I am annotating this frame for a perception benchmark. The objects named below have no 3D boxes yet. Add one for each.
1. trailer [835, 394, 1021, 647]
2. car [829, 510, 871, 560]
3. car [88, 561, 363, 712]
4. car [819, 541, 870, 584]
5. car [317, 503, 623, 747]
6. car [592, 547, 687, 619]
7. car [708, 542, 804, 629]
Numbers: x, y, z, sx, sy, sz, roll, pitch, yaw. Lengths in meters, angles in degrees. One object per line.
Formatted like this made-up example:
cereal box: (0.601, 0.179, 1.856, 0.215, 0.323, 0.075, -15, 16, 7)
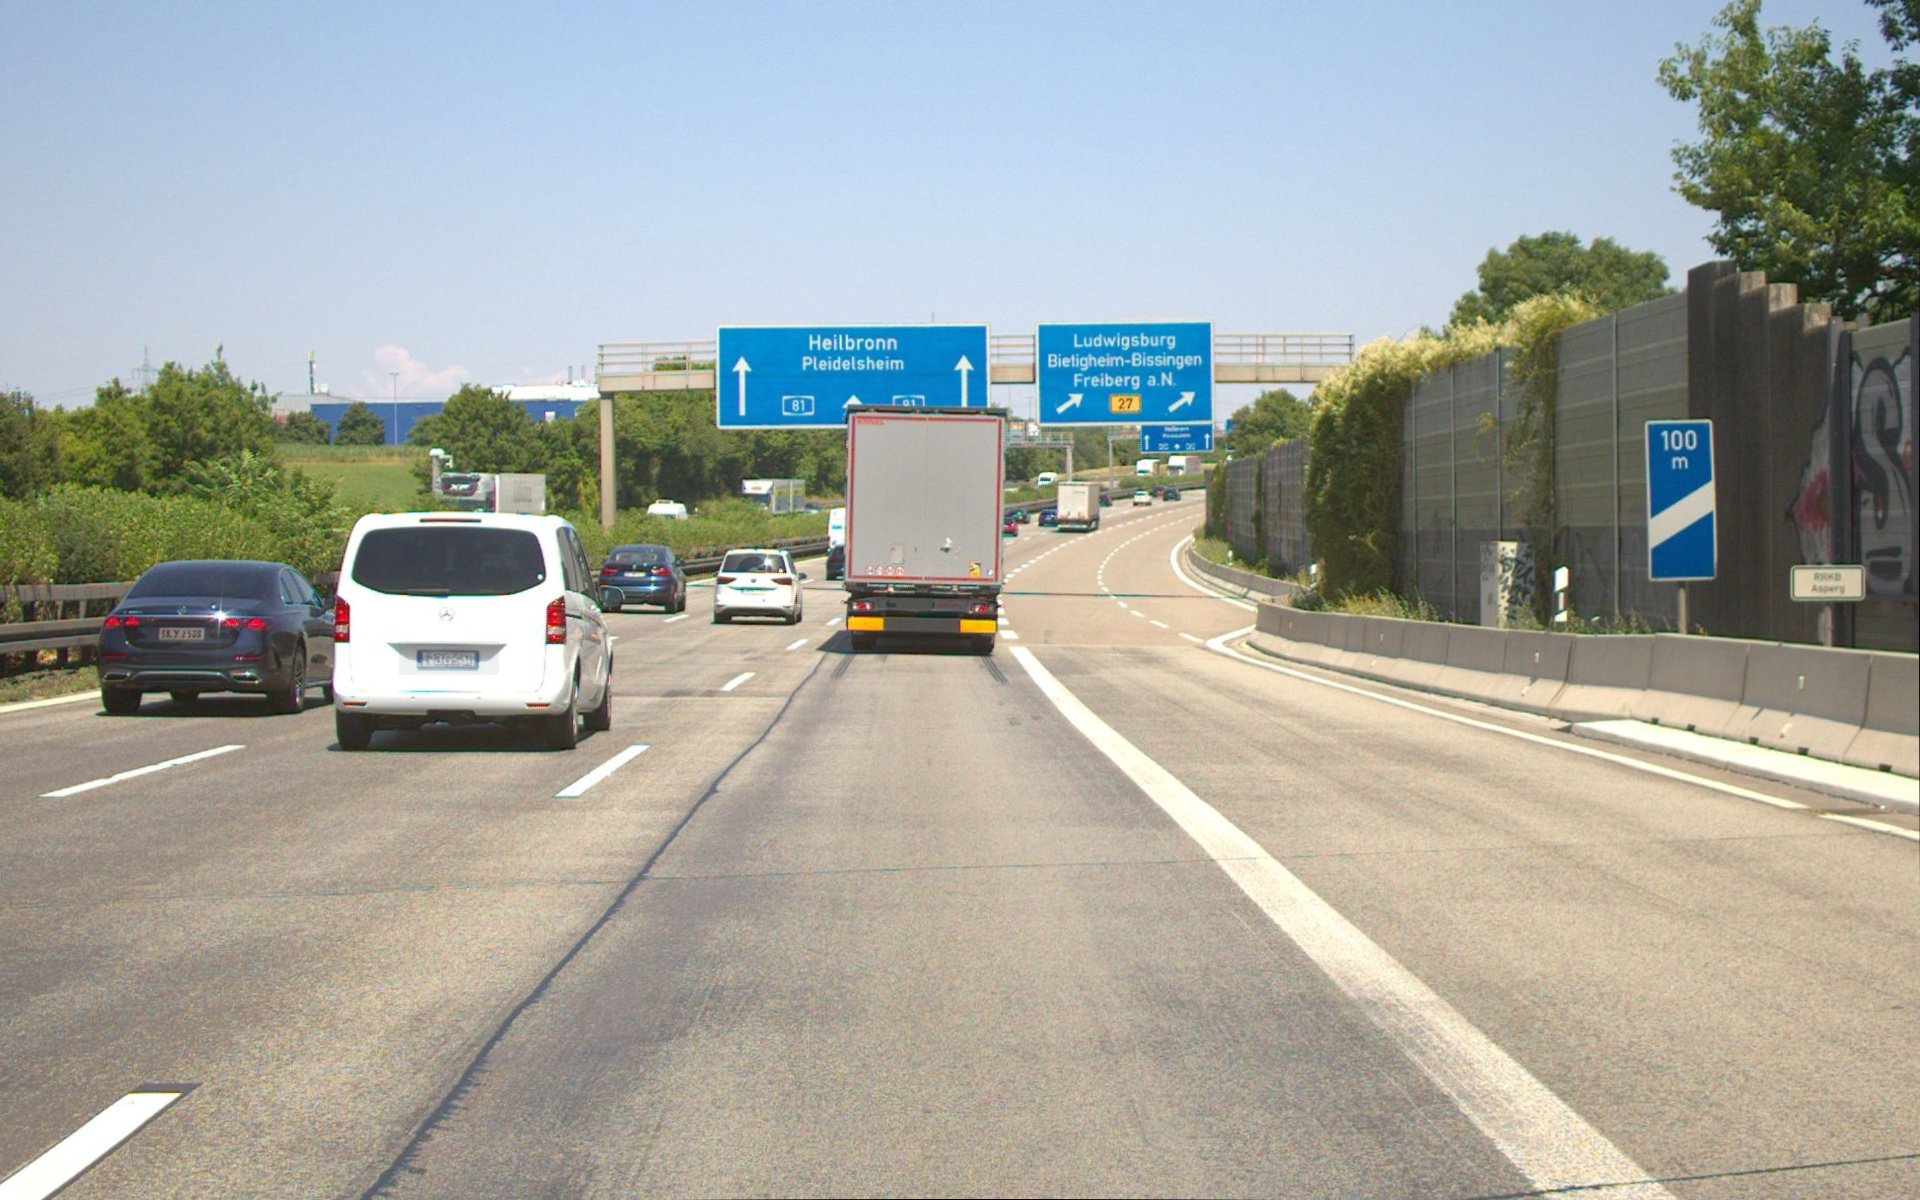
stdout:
trailer: (-0.559, -1.314, 60.573, 2.928, 4.002, 12.039, 0, 1, 0)
car: (-5.431, -3.195, 169.882, 1.993, 2.366, 4.000, 1, 0, -1)
car: (-7.297, 0.315, 34.639, 1.756, 1.404, 5.040, 0, 1, -1)
car: (-4.579, -1.502, 136.782, 1.904, 1.683, 4.631, 0, 1, -1)
car: (-3.963, 0.168, 28.542, 1.930, 1.845, 4.692, 0, 1, -1)
car: (-7.703, -0.428, 82.967, 1.904, 1.683, 4.631, 0, 1, -1)
car: (-4.434, -0.332, 75.253, 1.904, 1.845, 4.631, 0, 1, -1)
